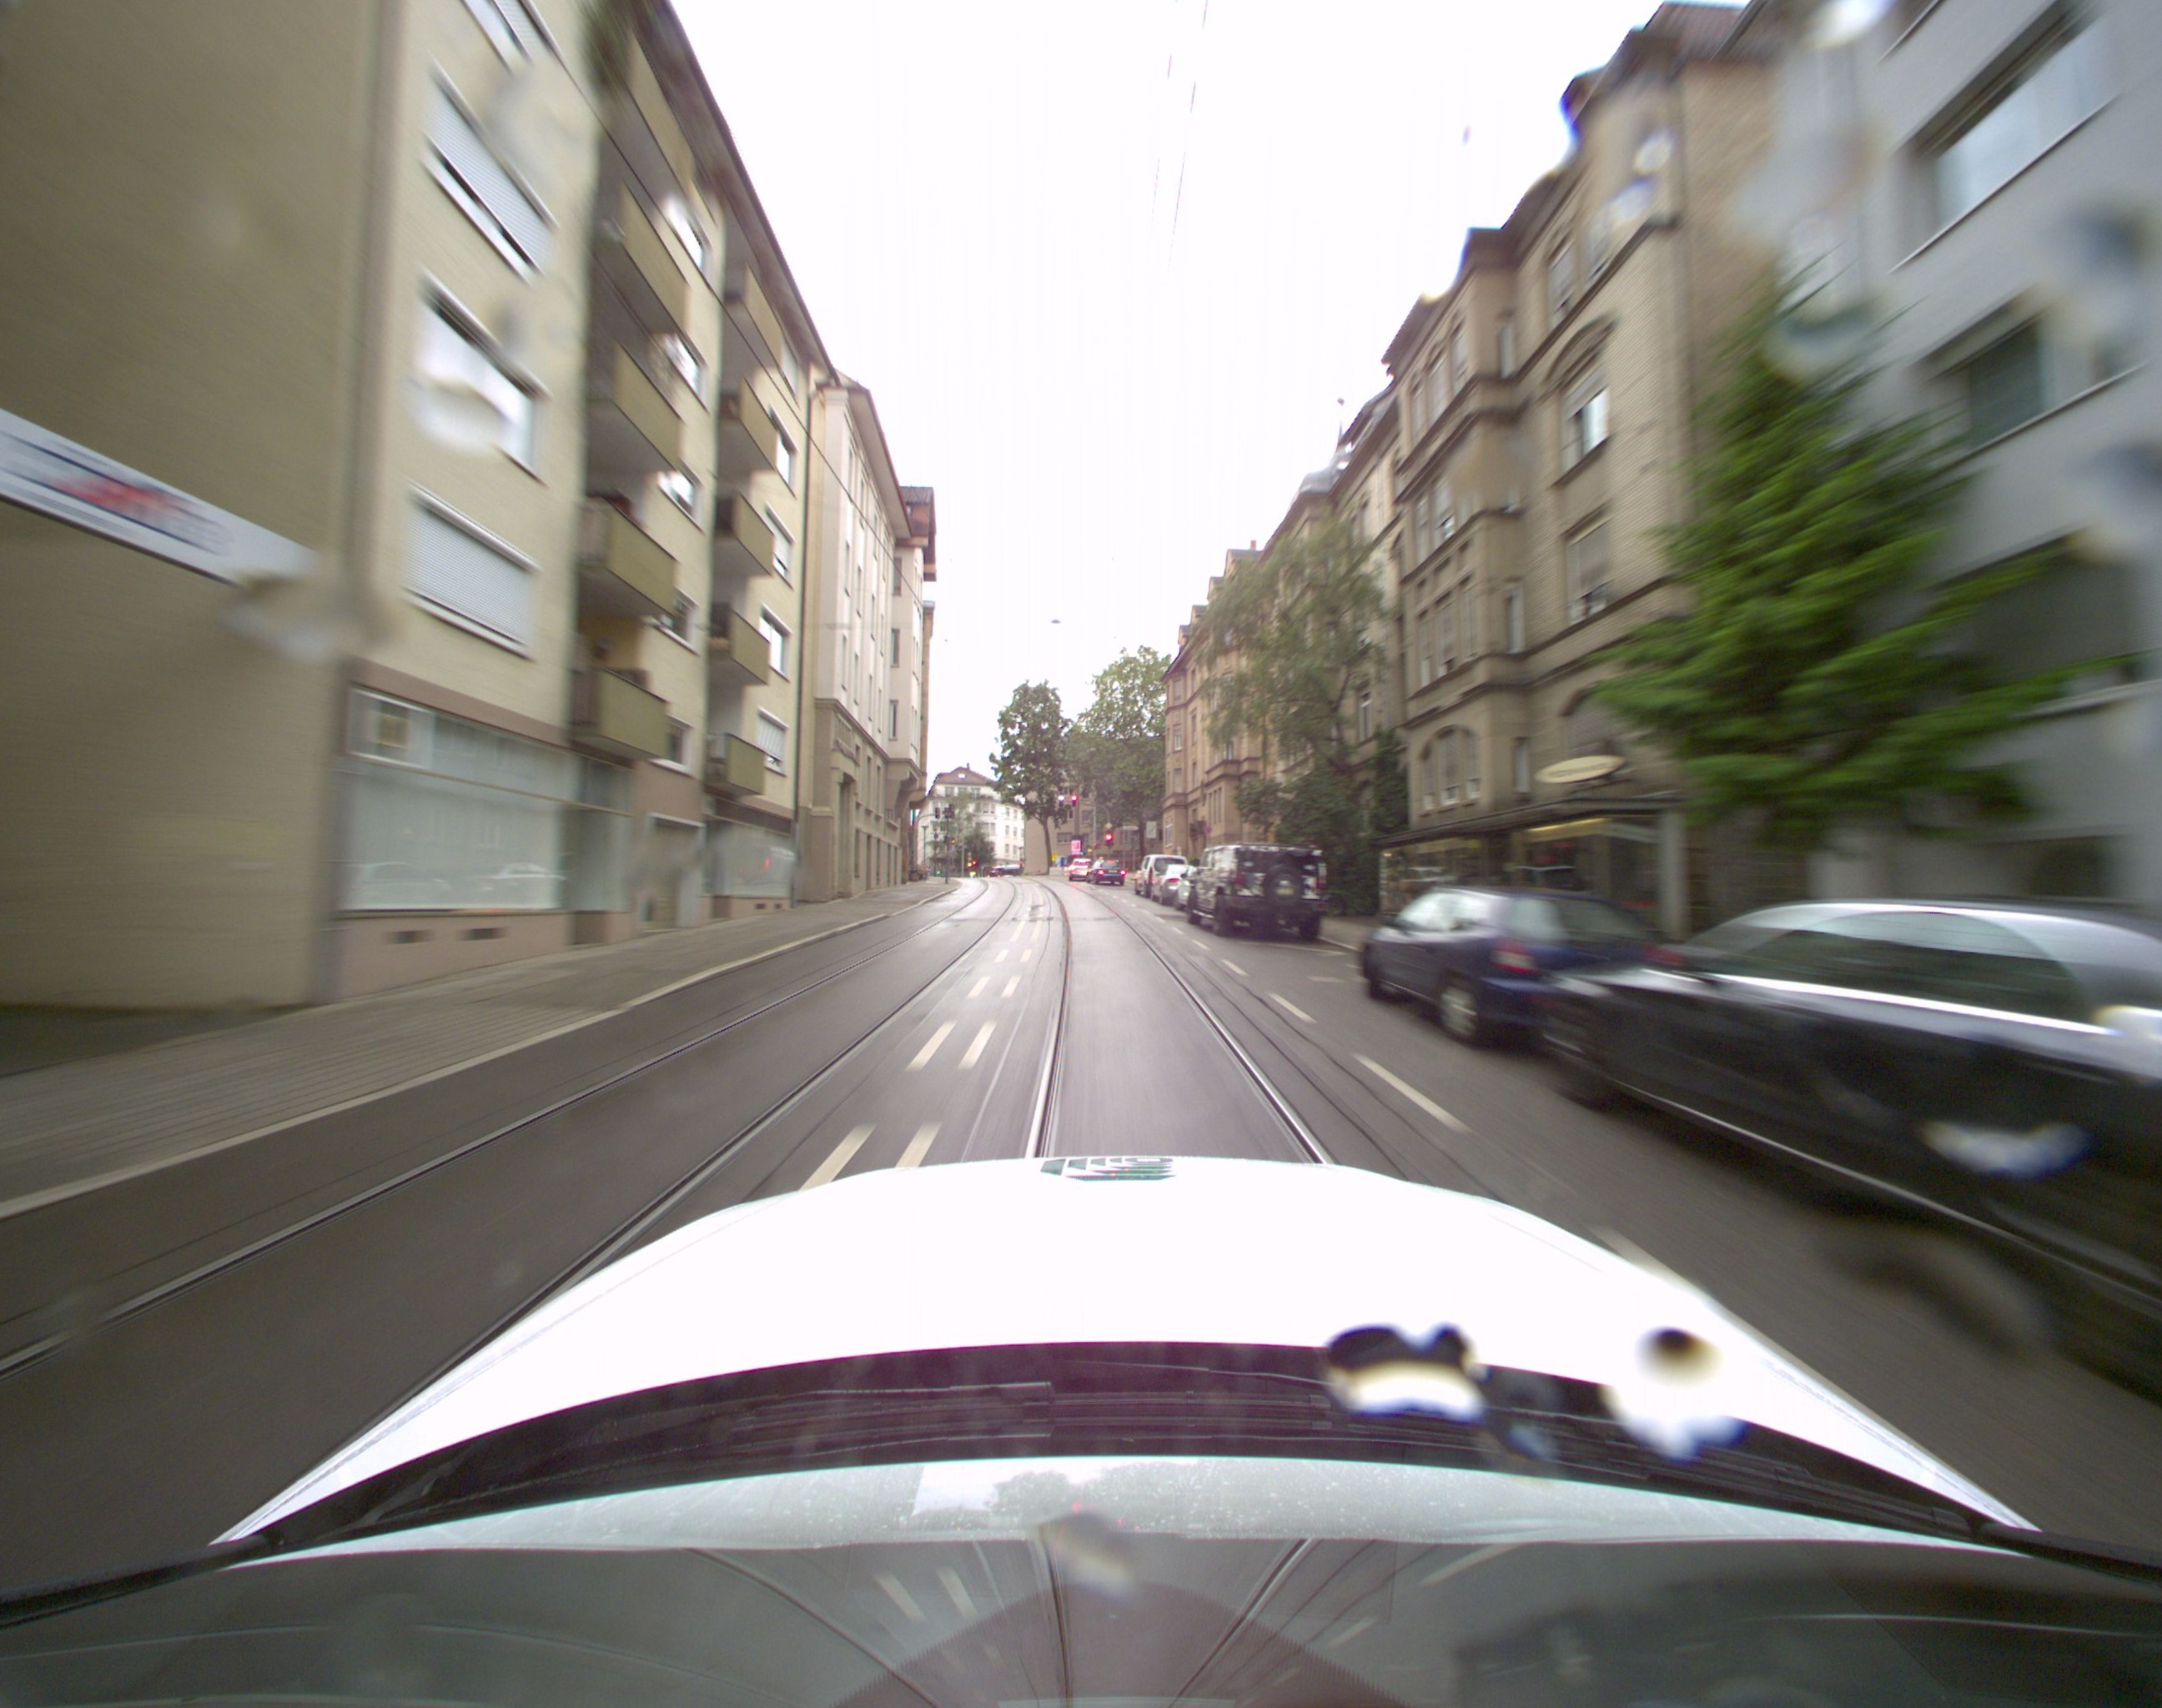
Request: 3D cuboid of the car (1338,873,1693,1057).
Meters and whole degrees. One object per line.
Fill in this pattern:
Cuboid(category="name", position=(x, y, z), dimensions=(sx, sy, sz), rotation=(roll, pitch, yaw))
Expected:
Cuboid(category="car", position=(4.028, 0.913, 8.346), dimensions=(1.672, 1.338, 3.884), rotation=(1, 0, 2))

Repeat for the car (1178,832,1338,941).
Cuboid(category="car", position=(3.740, 0.639, 18.342), dimensions=(2.124, 2.014, 5.344), rotation=(2, 0, -3))

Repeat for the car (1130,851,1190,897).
Cuboid(category="car", position=(3.287, 0.821, 34.656), dimensions=(1.794, 1.765, 4.456), rotation=(2, 0, -4))

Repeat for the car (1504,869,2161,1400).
Cuboid(category="car", position=(3.983, 0.839, 3.747), dimensions=(1.787, 1.437, 4.612), rotation=(1, 0, 2))

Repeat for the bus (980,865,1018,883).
Cuboid(category="bus", position=(-13.775, 3.279, 137.786), dimensions=(2.830, 2.861, 8.777), rotation=(-1, 0, 20))

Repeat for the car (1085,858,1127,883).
Cuboid(category="car", position=(1.441, 0.960, 48.703), dimensions=(1.711, 1.415, 4.021), rotation=(1, 0, -11))

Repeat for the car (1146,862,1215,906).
Cuboid(category="car", position=(3.513, 1.019, 29.411), dimensions=(1.744, 1.400, 4.474), rotation=(2, 0, -2))

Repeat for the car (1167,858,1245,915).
Cuboid(category="car", position=(3.720, 0.922, 24.755), dimensions=(1.557, 1.546, 3.579), rotation=(2, 0, -4))

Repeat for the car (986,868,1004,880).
Cuboid(category="car", position=(-11.693, 2.746, 110.959), dimensions=(1.786, 1.510, 4.005), rotation=(-2, 0, 5))

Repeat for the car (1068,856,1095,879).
Cuboid(category="car", position=(0.031, 0.909, 54.659), dimensions=(1.706, 1.456, 3.550), rotation=(1, 0, -2))
